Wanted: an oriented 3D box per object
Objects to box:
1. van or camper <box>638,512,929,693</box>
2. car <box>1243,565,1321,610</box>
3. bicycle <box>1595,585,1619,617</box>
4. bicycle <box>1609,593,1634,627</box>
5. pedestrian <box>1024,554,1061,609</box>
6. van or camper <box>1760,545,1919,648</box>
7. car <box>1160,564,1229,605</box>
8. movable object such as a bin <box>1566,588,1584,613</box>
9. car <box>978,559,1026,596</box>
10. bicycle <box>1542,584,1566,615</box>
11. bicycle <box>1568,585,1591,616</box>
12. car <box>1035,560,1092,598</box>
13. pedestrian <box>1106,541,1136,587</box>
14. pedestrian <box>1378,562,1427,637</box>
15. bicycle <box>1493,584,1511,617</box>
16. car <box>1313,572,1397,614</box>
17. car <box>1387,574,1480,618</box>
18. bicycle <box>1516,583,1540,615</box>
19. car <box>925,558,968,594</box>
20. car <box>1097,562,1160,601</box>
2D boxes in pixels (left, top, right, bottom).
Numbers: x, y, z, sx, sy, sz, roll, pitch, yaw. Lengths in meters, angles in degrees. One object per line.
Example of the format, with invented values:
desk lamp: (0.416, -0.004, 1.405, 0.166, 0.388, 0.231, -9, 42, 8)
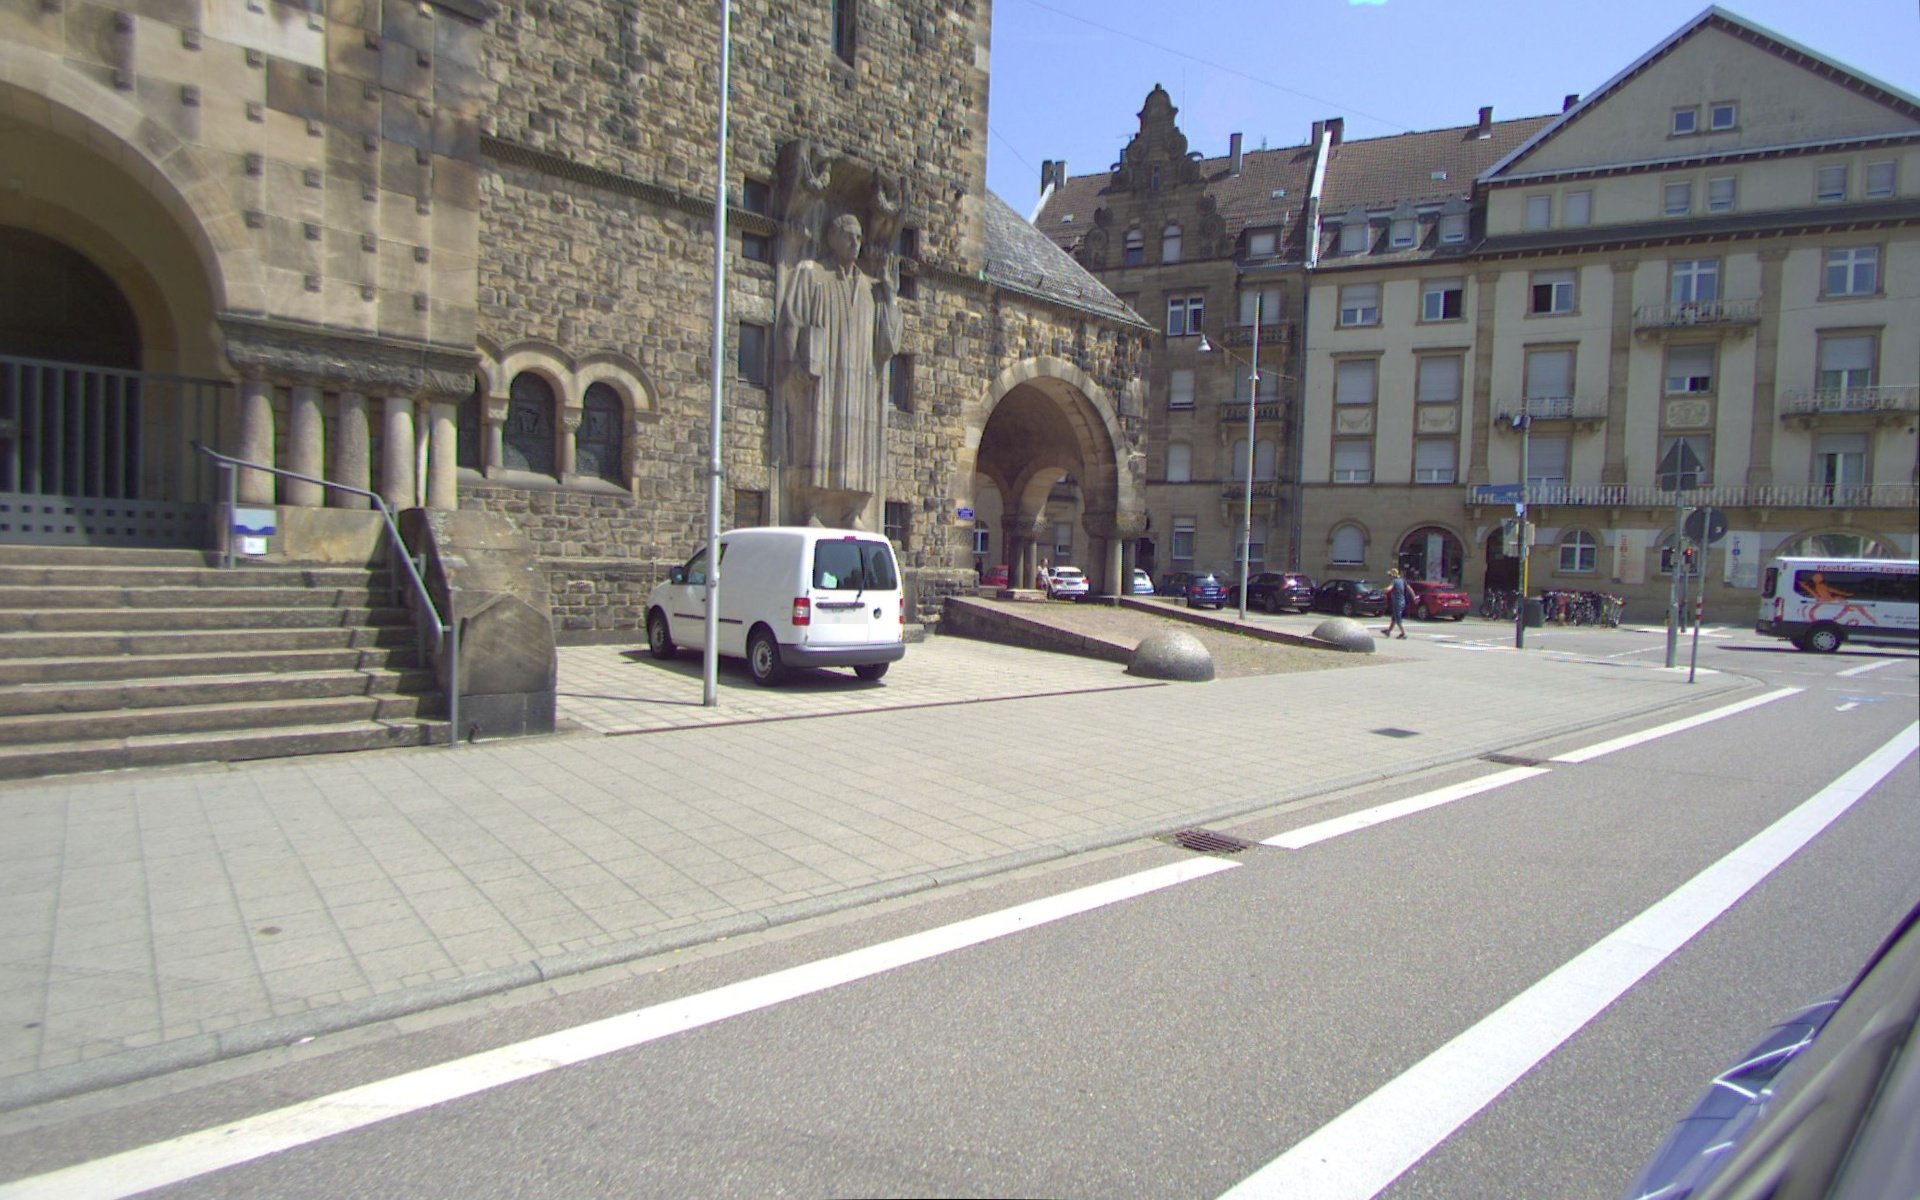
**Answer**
van or camper: (-2.387, -0.103, 12.941, 1.772, 1.847, 3.996, 0, 5, -42)
car: (13.494, -0.550, 42.579, 1.583, 1.685, 3.235, -1, 4, -15)
bicycle: (25.062, 0.036, 39.193, 0.562, 1.165, 1.781, 3, 3, 38)
bicycle: (24.602, 0.344, 37.634, 0.562, 1.165, 2.032, 3, 3, 38)
pedestrian: (2.419, -0.555, 29.674, 0.789, 1.578, 0.710, 3, 2, 43)
van or camper: (24.508, -0.063, 25.978, 5.852, 2.491, 2.052, 3, 2, 30)
car: (10.178, -0.697, 44.193, 1.583, 1.593, 3.235, -1, 4, -15)
movable object such as a bin: (25.528, 0.017, 41.999, 0.586, 1.007, 0.576, 2, 2, 33)
car: (1.964, -1.080, 48.050, 1.583, 1.593, 3.235, -1, 4, -11)
bicycle: (23.414, -0.030, 39.894, 0.562, 1.165, 1.781, 3, 3, 38)
bicycle: (24.242, 0.005, 39.593, 0.562, 1.165, 1.781, 3, 3, 38)
car: (4.715, -0.987, 46.625, 1.583, 1.593, 3.235, -1, 4, -14)
pedestrian: (7.780, -1.743, 48.961, 0.850, 2.139, 1.102, 1, 2, -34)
pedestrian: (11.160, -0.027, 25.521, 0.817, 1.845, 0.745, 0, 2, -34)
bicycle: (21.110, 0.002, 39.405, 0.560, 1.165, 1.787, 2, 3, 29)
car: (16.128, -0.326, 41.452, 1.583, 1.496, 3.235, -1, 4, -15)
car: (18.680, -0.202, 40.075, 1.583, 1.496, 3.235, -1, 4, -15)
bicycle: (22.349, -0.053, 39.813, 0.562, 1.165, 1.781, 3, 3, 38)
car: (-0.678, -1.207, 49.365, 1.583, 1.593, 3.235, -1, 4, -11)
car: (7.615, -0.885, 45.954, 1.583, 1.593, 3.235, -1, 4, -15)
